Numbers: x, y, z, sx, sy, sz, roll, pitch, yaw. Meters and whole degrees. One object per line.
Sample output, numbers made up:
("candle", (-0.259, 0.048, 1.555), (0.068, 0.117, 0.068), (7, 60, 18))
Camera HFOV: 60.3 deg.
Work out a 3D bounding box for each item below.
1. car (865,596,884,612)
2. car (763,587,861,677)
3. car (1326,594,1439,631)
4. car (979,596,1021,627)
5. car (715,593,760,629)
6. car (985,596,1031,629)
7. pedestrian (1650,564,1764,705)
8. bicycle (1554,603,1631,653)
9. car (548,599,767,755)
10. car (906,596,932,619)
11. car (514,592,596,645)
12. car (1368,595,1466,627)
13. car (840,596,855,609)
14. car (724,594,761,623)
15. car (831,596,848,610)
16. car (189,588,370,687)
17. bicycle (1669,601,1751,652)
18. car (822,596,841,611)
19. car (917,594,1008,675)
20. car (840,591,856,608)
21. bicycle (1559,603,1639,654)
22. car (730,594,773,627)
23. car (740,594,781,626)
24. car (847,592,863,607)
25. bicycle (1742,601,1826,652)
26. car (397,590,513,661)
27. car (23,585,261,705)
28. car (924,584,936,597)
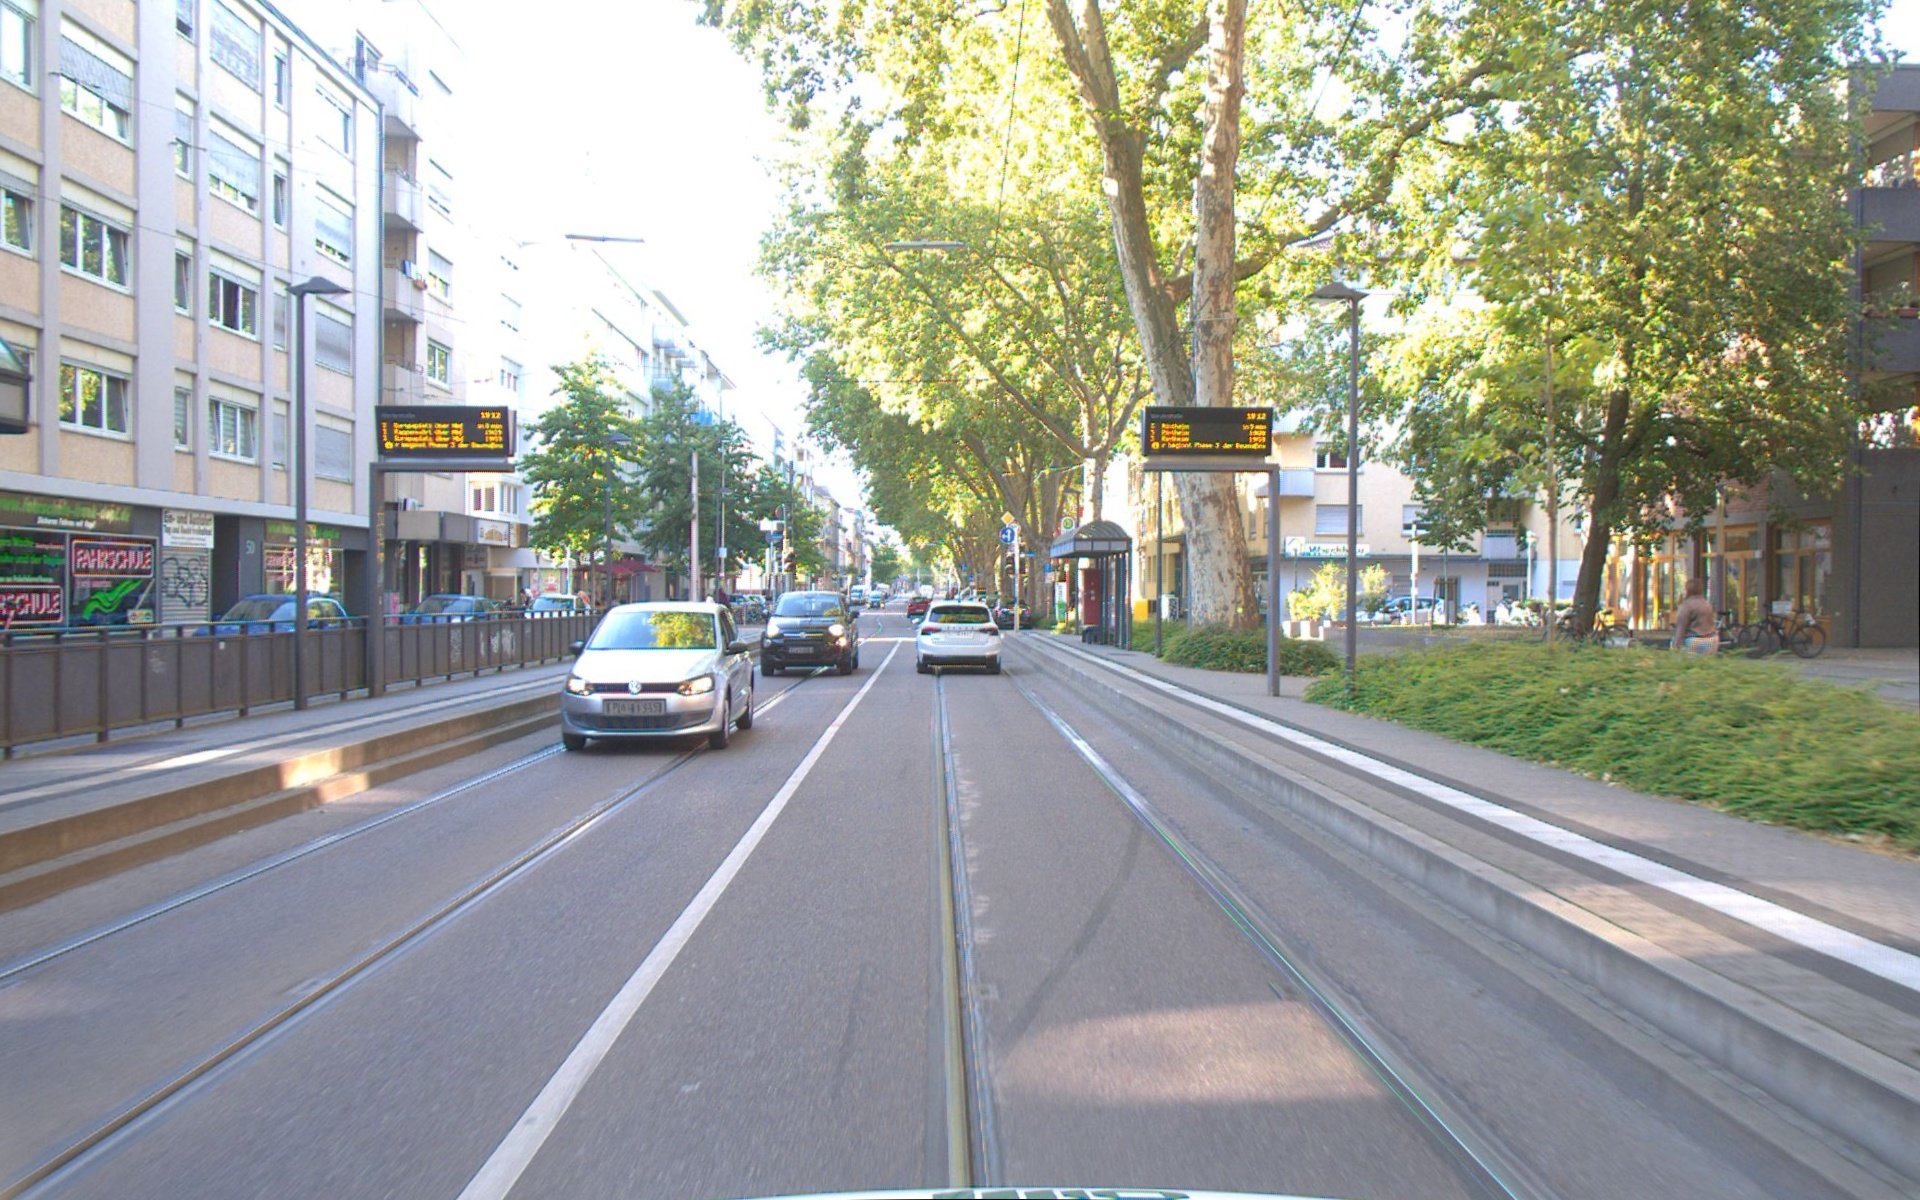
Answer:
("car", (-8.481, 0.370, 164.294), (1.752, 1.540, 3.999), (0, 0, -1))
("car", (-2.897, 0.582, 32.999), (1.659, 1.673, 3.999), (0, 0, -1))
("car", (16.241, 0.471, 63.724), (3.905, 1.396, 1.867), (0, 0, 1))
("car", (1.963, 0.539, 82.239), (1.953, 1.478, 3.999), (0, 0, -1))
("car", (-10.498, 0.511, 78.249), (1.644, 1.575, 3.999), (2, 0, -1))
("car", (2.231, 0.550, 77.158), (1.953, 1.478, 3.999), (0, 0, -1))
("pedestrian", (8.930, 0.403, 19.796), (0.952, 1.652, 0.887), (0, 0, -1))
("bicycle", (13.480, 0.586, 35.284), (1.533, 1.055, 0.504), (0, 0, 20))
("car", (-3.092, 0.725, 17.615), (1.659, 1.444, 3.999), (0, 0, -1))
("car", (-2.836, 0.495, 113.811), (1.752, 1.540, 3.999), (0, 0, -1))
("car", (-12.837, 0.556, 52.664), (1.644, 1.575, 3.999), (2, 0, -1))
("car", (20.512, 0.466, 74.284), (3.905, 1.396, 1.867), (0, 0, 0))
("car", (-13.953, 0.269, 205.186), (1.752, 1.540, 3.999), (0, 0, -1))
("car", (-12.395, 0.471, 94.475), (1.644, 1.575, 3.999), (2, 0, -1))
("car", (-13.603, 0.309, 186.978), (1.752, 1.540, 3.999), (0, 0, -1))
("car", (-11.975, 0.604, 29.385), (1.561, 1.575, 3.999), (2, 0, -1))
("bicycle", (15.645, 0.546, 34.537), (1.533, 1.055, 0.479), (0, 0, 20))
("car", (-13.246, 0.342, 170.992), (1.752, 1.540, 3.999), (0, 0, -1))
("car", (0.011, 0.661, 34.018), (1.752, 1.540, 3.999), (0, 0, -1))
("car", (-14.468, -0.039, 213.882), (1.951, 2.110, 3.999), (0, 0, -1))
("bicycle", (13.285, 0.588, 34.407), (1.533, 1.055, 0.479), (0, 0, 20))
("car", (-10.388, 0.501, 82.569), (1.644, 1.575, 3.999), (2, 0, -1))
("car", (-10.441, 0.493, 86.762), (1.644, 1.575, 3.999), (2, 0, -1))
("car", (-14.692, -0.067, 231.785), (1.951, 2.110, 3.999), (0, 0, -1))
("bicycle", (17.219, 0.550, 34.589), (1.534, 1.055, 0.479), (0, 0, 22))
("car", (-12.303, 0.582, 40.518), (1.644, 1.575, 3.999), (2, 0, -1))
("car", (-12.050, 0.606, 24.662), (1.561, 1.575, 3.999), (2, 0, -1))
("car", (-4.483, -1.404, 245.363), (1.828, 1.925, 3.999), (0, 0, -1))
